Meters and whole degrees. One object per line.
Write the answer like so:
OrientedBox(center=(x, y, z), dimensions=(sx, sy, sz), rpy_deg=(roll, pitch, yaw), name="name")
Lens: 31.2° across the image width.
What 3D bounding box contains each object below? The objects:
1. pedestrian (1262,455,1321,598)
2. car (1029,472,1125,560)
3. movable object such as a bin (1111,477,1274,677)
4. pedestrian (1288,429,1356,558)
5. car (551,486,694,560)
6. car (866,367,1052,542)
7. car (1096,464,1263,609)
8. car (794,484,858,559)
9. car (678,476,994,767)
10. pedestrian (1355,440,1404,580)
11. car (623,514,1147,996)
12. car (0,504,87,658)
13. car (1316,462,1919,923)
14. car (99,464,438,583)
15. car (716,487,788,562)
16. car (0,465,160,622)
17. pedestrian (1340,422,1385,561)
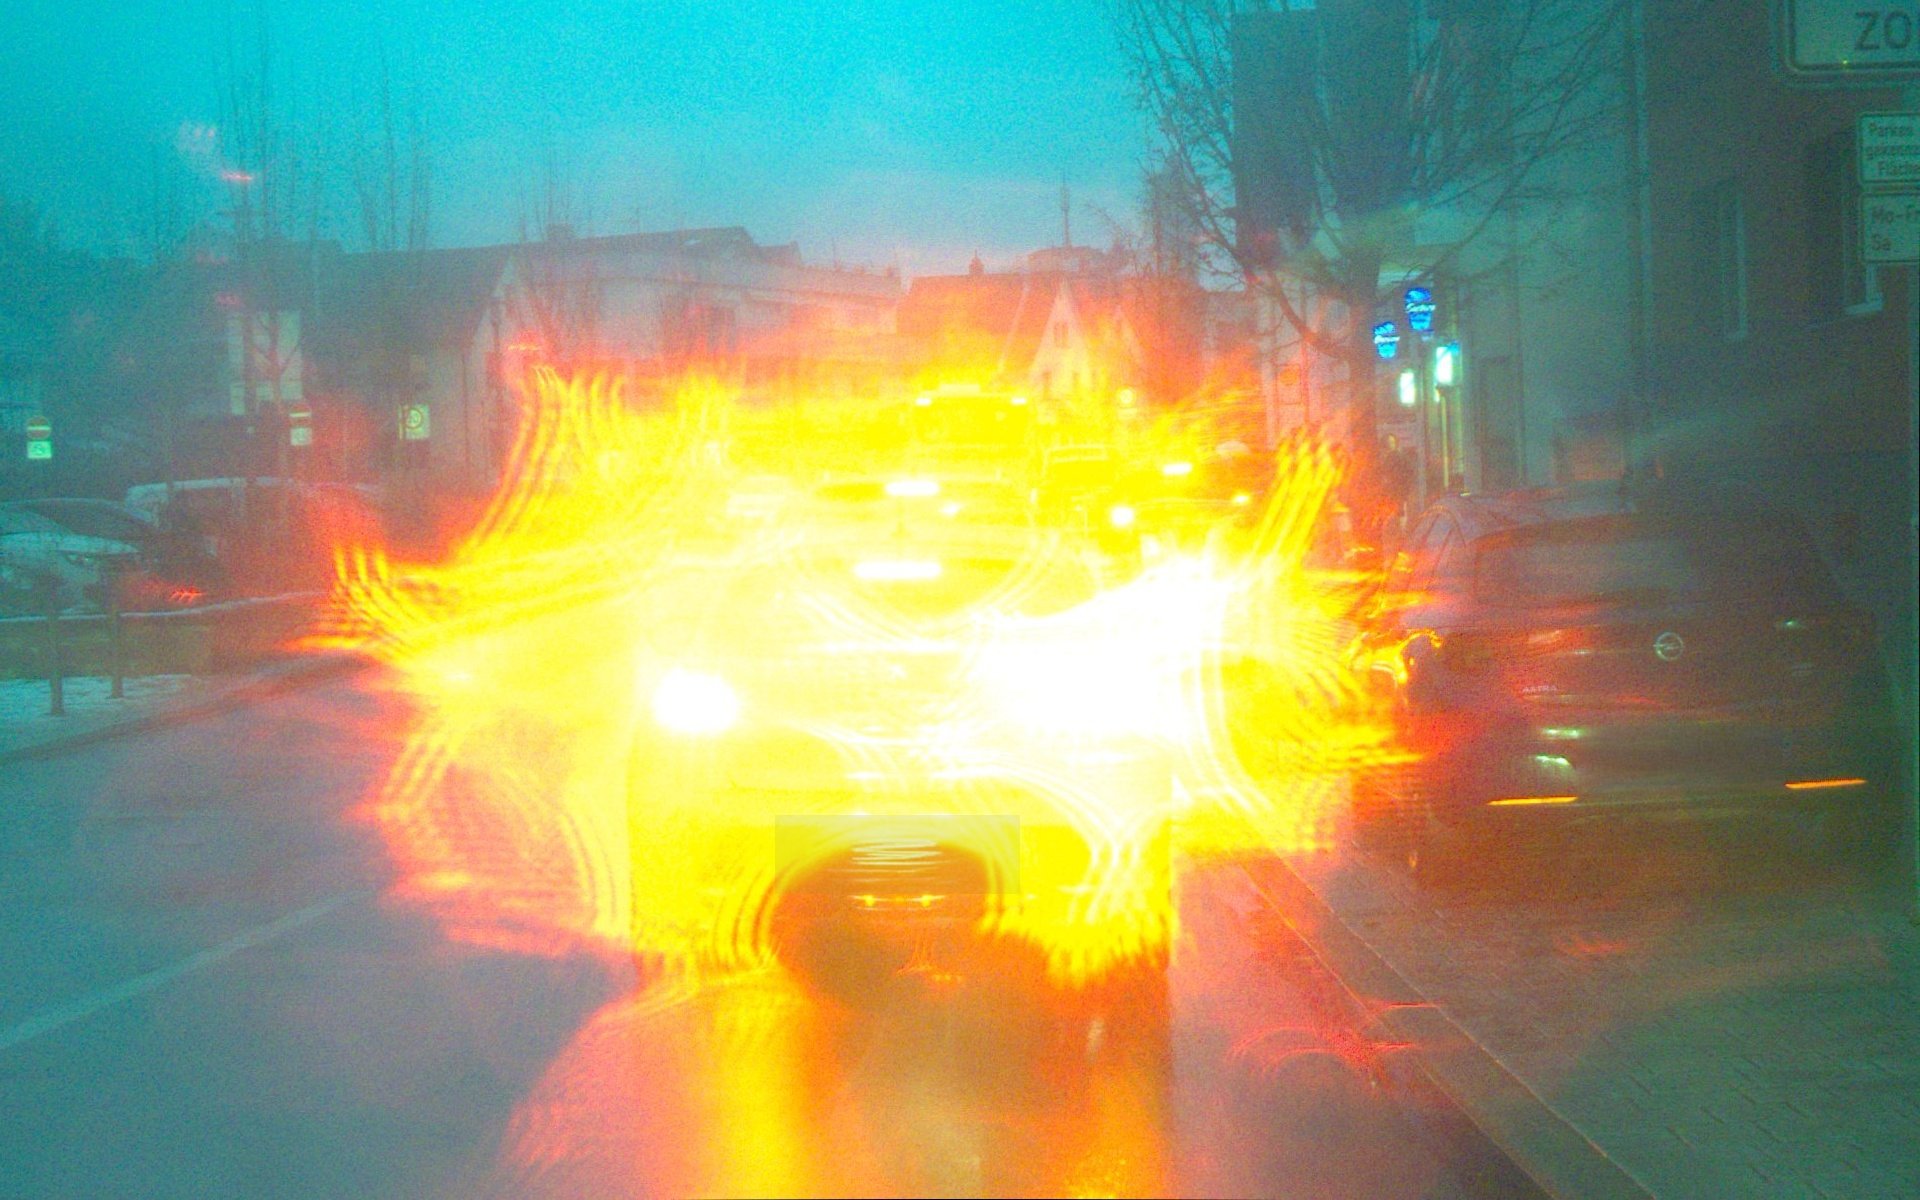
OrientedBox(center=(4.026, -0.898, 41.756), dimensions=(0.573, 1.694, 0.653), rpy_deg=(-3, 1, 2), name="pedestrian")
OrientedBox(center=(2.529, -1.834, 75.140), dimensions=(1.997, 1.858, 4.083), rpy_deg=(-1, 1, 1), name="car")
OrientedBox(center=(1.805, -0.198, 26.887), dimensions=(1.129, 1.415, 1.417), rpy_deg=(-4, 3, 3), name="movable object such as a bin")
OrientedBox(center=(4.965, -1.464, 47.107), dimensions=(0.712, 1.709, 1.034), rpy_deg=(-2, 2, 14), name="pedestrian")
OrientedBox(center=(-10.311, -2.320, 104.809), dimensions=(4.383, 2.159, 1.995), rpy_deg=(0, 0, 44), name="car")
OrientedBox(center=(-0.109, -2.675, 65.138), dimensions=(3.190, 3.021, 6.306), rpy_deg=(0, 0, -3), name="car")
OrientedBox(center=(2.705, -0.827, 43.224), dimensions=(1.735, 1.686, 4.387), rpy_deg=(-2, 2, 0), name="car")
OrientedBox(center=(-4.108, -2.387, 105.969), dimensions=(1.919, 2.208, 3.975), rpy_deg=(0, 0, -2), name="car")
OrientedBox(center=(-0.690, 0.058, 21.016), dimensions=(1.766, 1.622, 3.586), rpy_deg=(0, 2, 0), name="car")
OrientedBox(center=(5.032, -1.067, 41.259), dimensions=(0.529, 1.647, 0.953), rpy_deg=(0, 0, 10), name="pedestrian")
OrientedBox(center=(-0.218, 0.427, 11.774), dimensions=(1.563, 1.407, 3.018), rpy_deg=(0, 2, 0), name="car")
OrientedBox(center=(-10.020, -0.139, 31.772), dimensions=(3.444, 1.367, 1.601), rpy_deg=(-2, 2, 0), name="car")
OrientedBox(center=(2.497, 0.239, 13.956), dimensions=(1.728, 1.459, 4.199), rpy_deg=(-4, 2, 2), name="car")
OrientedBox(center=(-10.181, -1.135, 50.880), dimensions=(4.625, 1.662, 2.000), rpy_deg=(-1, 1, -2), name="car")
OrientedBox(center=(-5.908, -2.138, 98.106), dimensions=(1.919, 2.020, 3.975), rpy_deg=(0, 0, -2), name="car")
OrientedBox(center=(-10.186, -0.561, 34.563), dimensions=(3.794, 1.517, 1.714), rpy_deg=(-1, 1, 7), name="car")
OrientedBox(center=(5.281, -1.427, 45.117), dimensions=(0.529, 1.794, 0.864), rpy_deg=(0, 2, 10), name="pedestrian")
